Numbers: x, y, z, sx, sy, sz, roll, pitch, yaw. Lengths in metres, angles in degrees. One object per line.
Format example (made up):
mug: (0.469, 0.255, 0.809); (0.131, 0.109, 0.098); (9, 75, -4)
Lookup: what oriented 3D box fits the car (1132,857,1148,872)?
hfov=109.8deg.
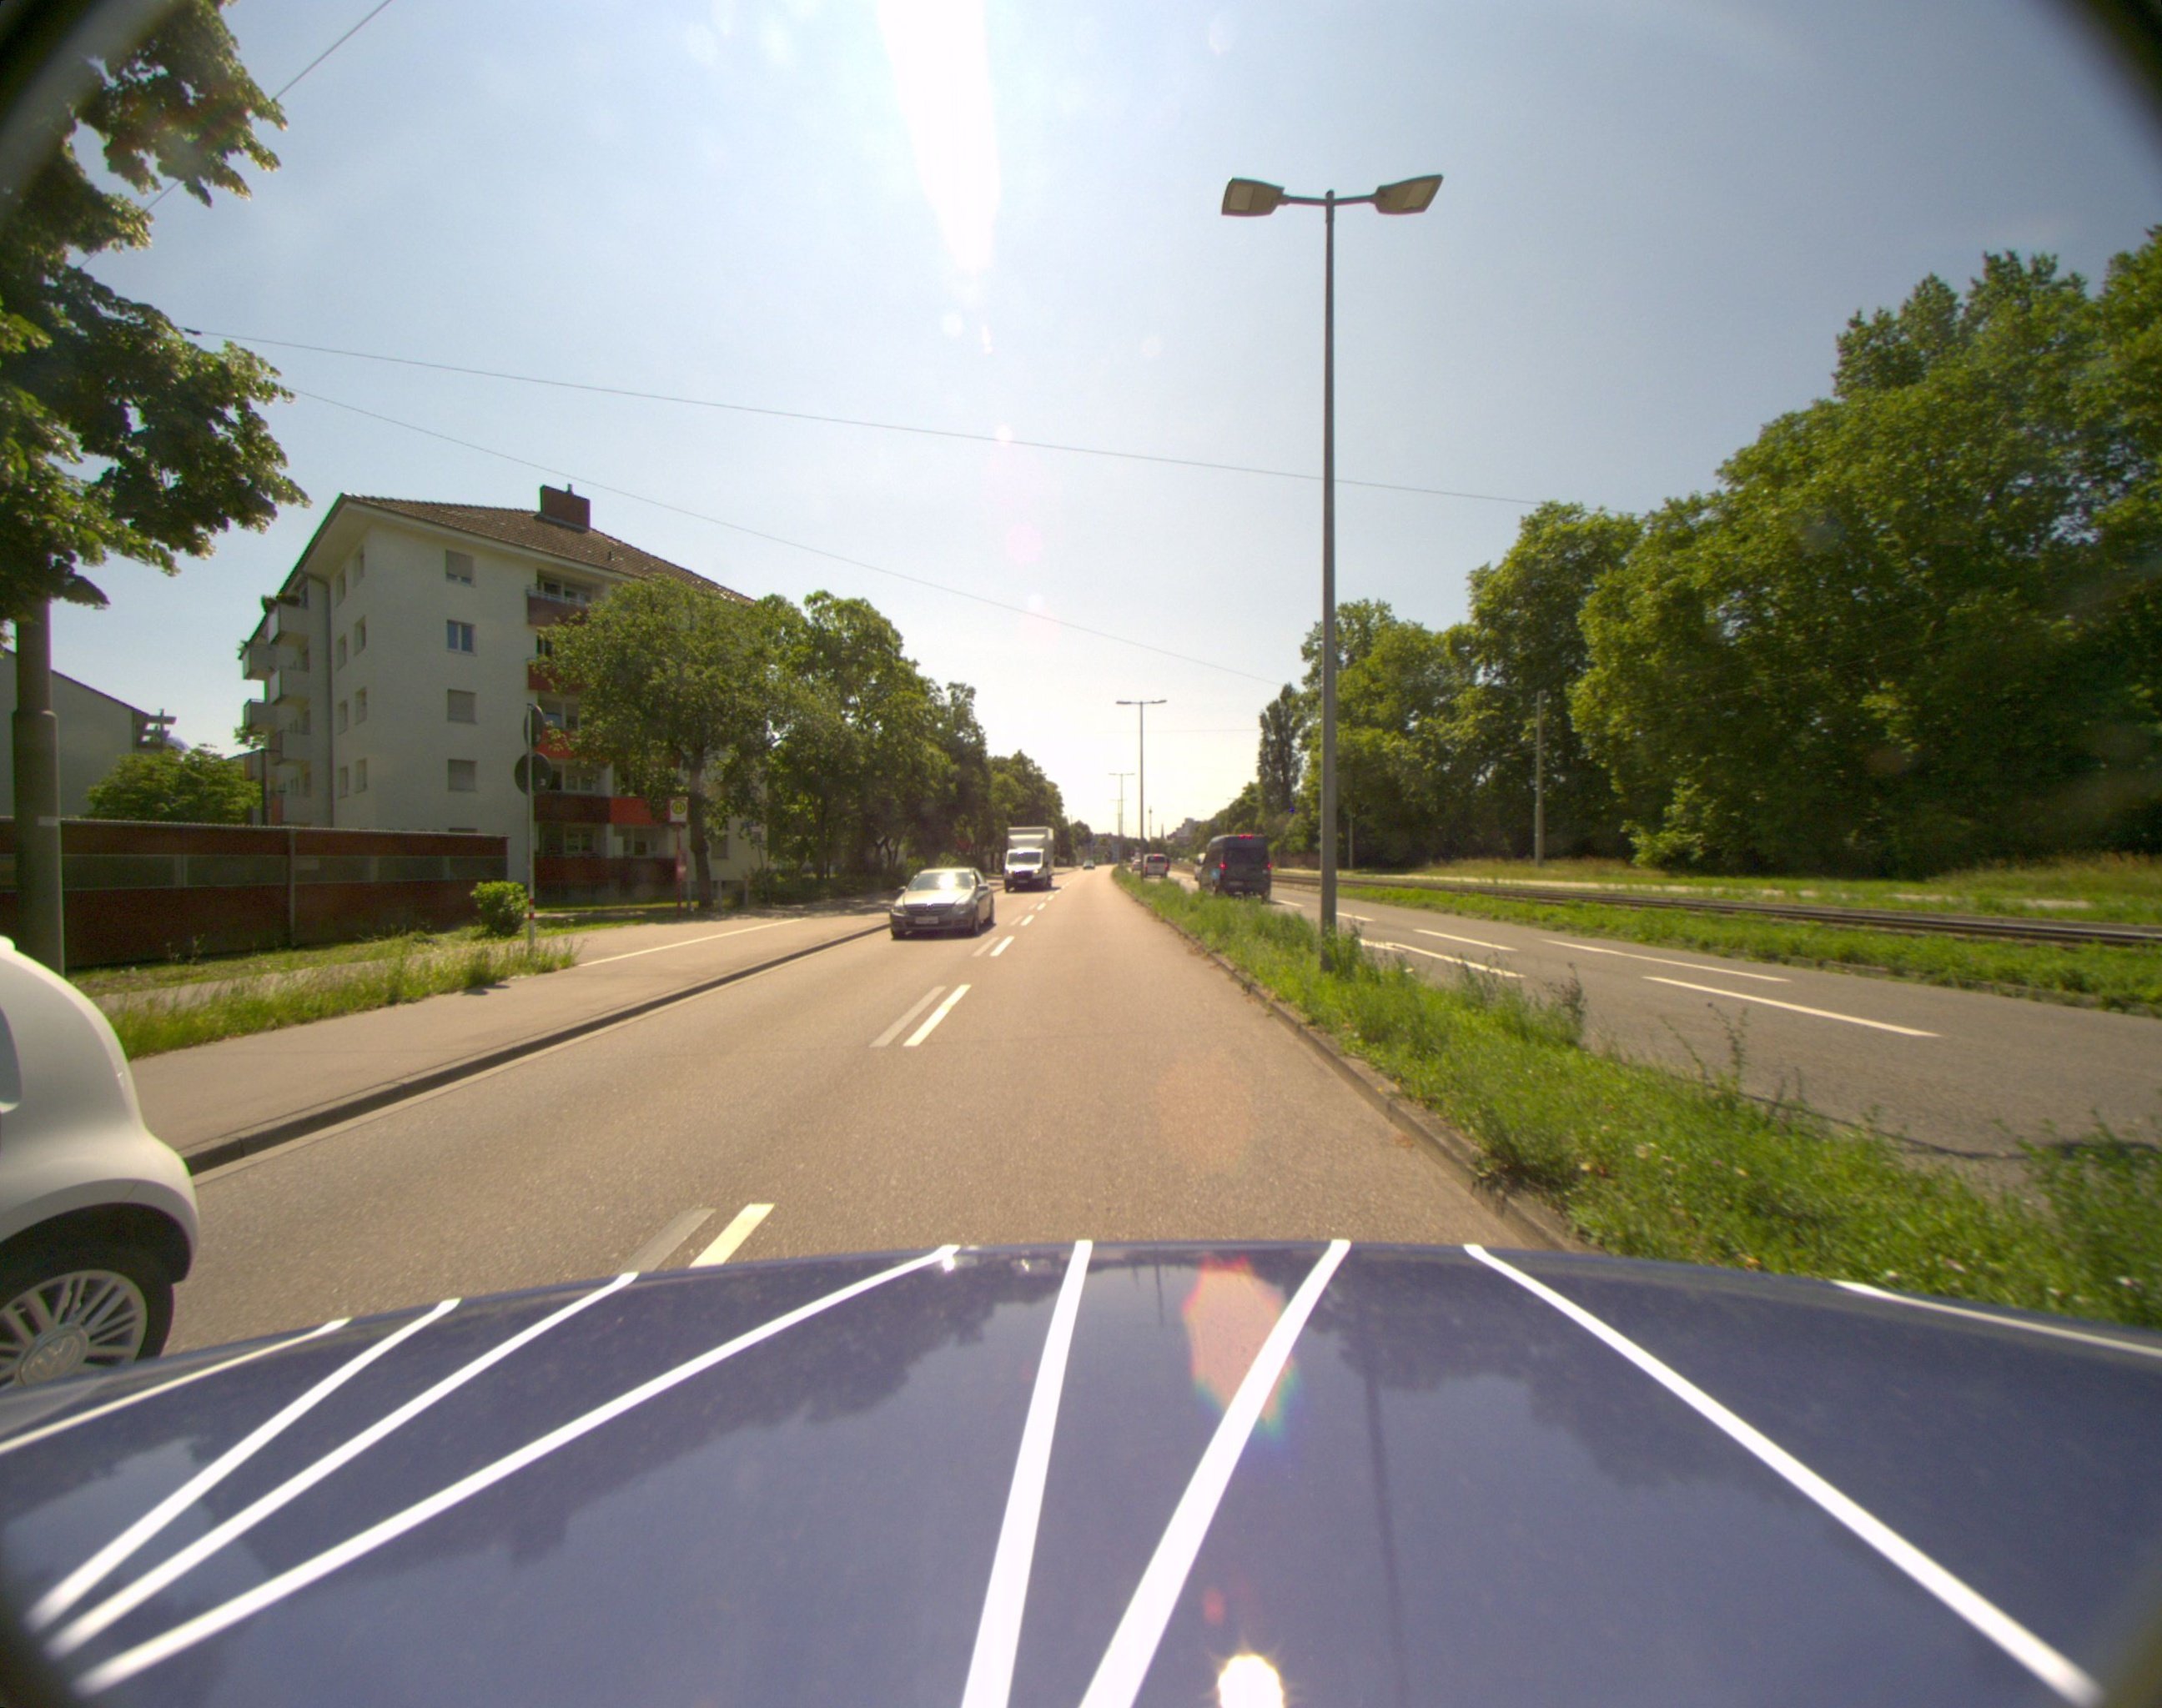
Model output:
car: (7.182, 1.265, 92.181); (1.834, 1.728, 4.039); (1, 0, 4)

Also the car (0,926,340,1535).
car: (-3.552, 1.003, 0.827); (1.663, 1.441, 3.854); (-2, 0, 0)

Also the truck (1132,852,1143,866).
truck: (11.212, 0.944, 150.389); (2.086, 2.732, 5.548); (1, 0, 3)

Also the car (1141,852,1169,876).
car: (6.038, 0.792, 62.832); (1.834, 1.895, 5.566); (1, 0, 1)

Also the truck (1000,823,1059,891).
truck: (-2.642, 0.148, 41.366); (2.294, 3.259, 8.313); (-1, 0, 2)

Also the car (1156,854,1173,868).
car: (11.001, 0.898, 100.443); (1.834, 1.791, 4.615); (1, 0, 2)

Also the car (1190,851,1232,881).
car: (9.083, 0.806, 53.334); (1.999, 2.001, 5.030); (1, 0, -1)

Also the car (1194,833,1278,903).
car: (5.689, 0.493, 28.670); (1.999, 2.352, 5.372); (0, 0, -1)

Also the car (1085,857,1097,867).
car: (1.682, 1.283, 126.359); (1.829, 1.556, 4.000); (-1, 0, 0)

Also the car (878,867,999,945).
car: (-3.057, 1.075, 17.121); (1.903, 1.451, 3.971); (-2, -1, 0)

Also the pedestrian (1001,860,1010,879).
pedestrian: (-6.602, 1.311, 66.432); (0.670, 1.634, 0.856); (-1, 1, 2)
